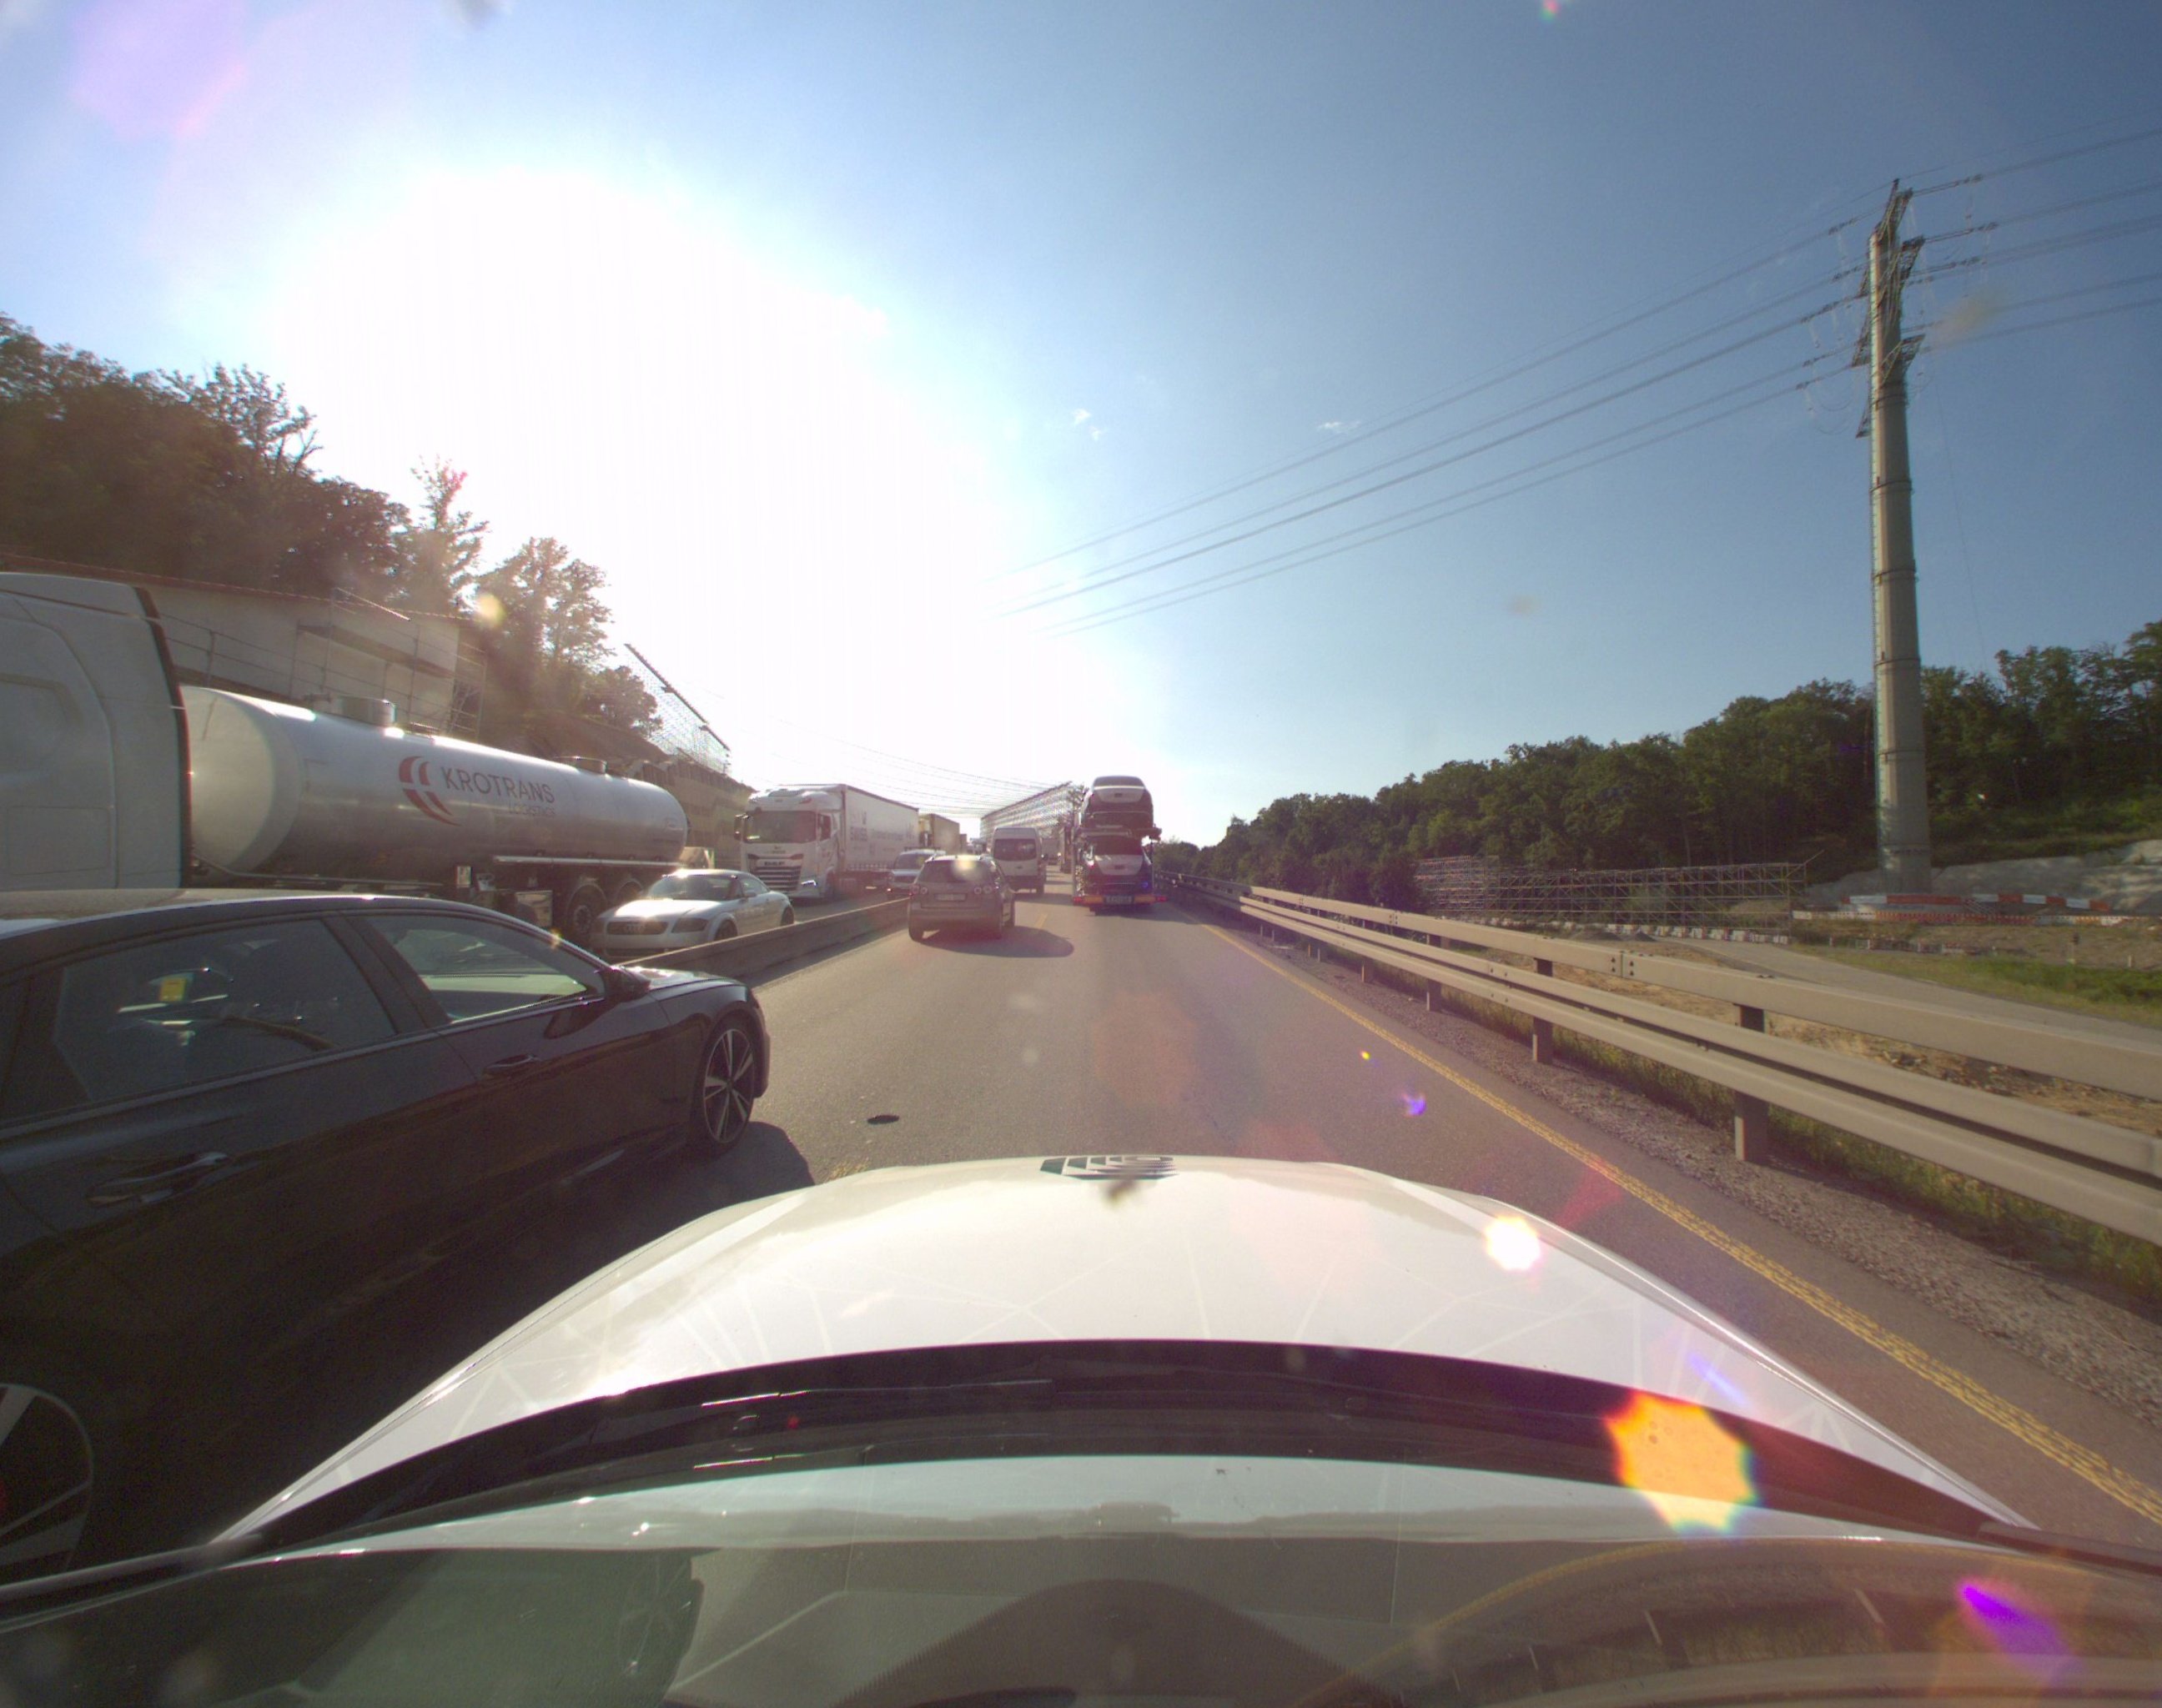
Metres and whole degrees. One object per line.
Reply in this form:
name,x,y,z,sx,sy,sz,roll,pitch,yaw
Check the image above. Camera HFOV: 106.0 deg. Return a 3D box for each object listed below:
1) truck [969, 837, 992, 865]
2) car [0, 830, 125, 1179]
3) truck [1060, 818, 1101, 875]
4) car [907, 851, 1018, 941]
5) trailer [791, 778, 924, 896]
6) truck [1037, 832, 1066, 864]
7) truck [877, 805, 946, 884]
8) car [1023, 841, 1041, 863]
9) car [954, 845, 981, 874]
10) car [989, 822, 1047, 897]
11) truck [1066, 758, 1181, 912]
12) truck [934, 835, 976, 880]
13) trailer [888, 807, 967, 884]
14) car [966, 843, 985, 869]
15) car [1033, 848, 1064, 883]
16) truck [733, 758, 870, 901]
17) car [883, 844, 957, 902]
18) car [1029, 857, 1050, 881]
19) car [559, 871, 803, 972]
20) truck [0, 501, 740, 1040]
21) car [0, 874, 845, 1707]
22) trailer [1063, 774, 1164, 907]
truck,-14.939,-0.404,121.594,2.635,3.995,9.020,-1,0,-3
car,-6.104,0.700,2.079,1.839,1.648,4.561,-2,-1,2
truck,-0.204,-0.626,73.805,3.220,4.677,11.685,-1,0,-2
car,-2.295,0.805,16.720,1.696,1.587,4.144,-1,-2,-1
trailer,-9.286,-0.468,35.630,2.445,4.266,12.142,-1,-1,0
truck,-4.705,-0.875,125.701,3.644,4.677,11.670,-1,0,-6
truck,-9.720,-0.458,47.209,2.886,4.272,5.766,-1,-2,-2
car,-4.808,-0.182,79.691,1.664,1.985,3.813,-1,-2,-3
car,-11.542,0.614,83.022,2.123,2.750,5.499,-1,-2,-2
car,-2.362,0.242,31.591,1.974,2.685,4.144,-1,-2,-1
truck,1.059,-0.441,24.207,2.862,3.980,5.766,-1,-2,-2
truck,-10.428,0.374,68.082,2.352,3.531,7.692,-1,-2,-1
trailer,-9.928,-0.324,54.508,2.886,4.394,14.367,-1,-1,-2
car,-11.758,0.203,91.240,1.664,2.765,4.954,-1,0,-3
car,-1.898,0.699,48.545,1.663,1.985,3.816,-1,-2,-1
truck,-9.259,-0.672,27.739,2.436,4.272,6.320,-1,-2,0
car,-5.794,0.647,29.893,1.827,1.917,4.862,-1,0,-1
car,-3.561,1.294,69.818,1.664,1.985,3.813,-1,-2,-3
car,-5.898,0.923,12.624,1.705,1.253,4.051,-2,-1,1
truck,-9.284,-0.558,11.620,2.799,3.970,13.893,0,-1,1
car,-2.725,0.857,2.924,1.932,1.480,5.226,-2,-1,3
trailer,0.810,-0.218,32.380,2.867,3.994,15.266,-1,-1,-2
